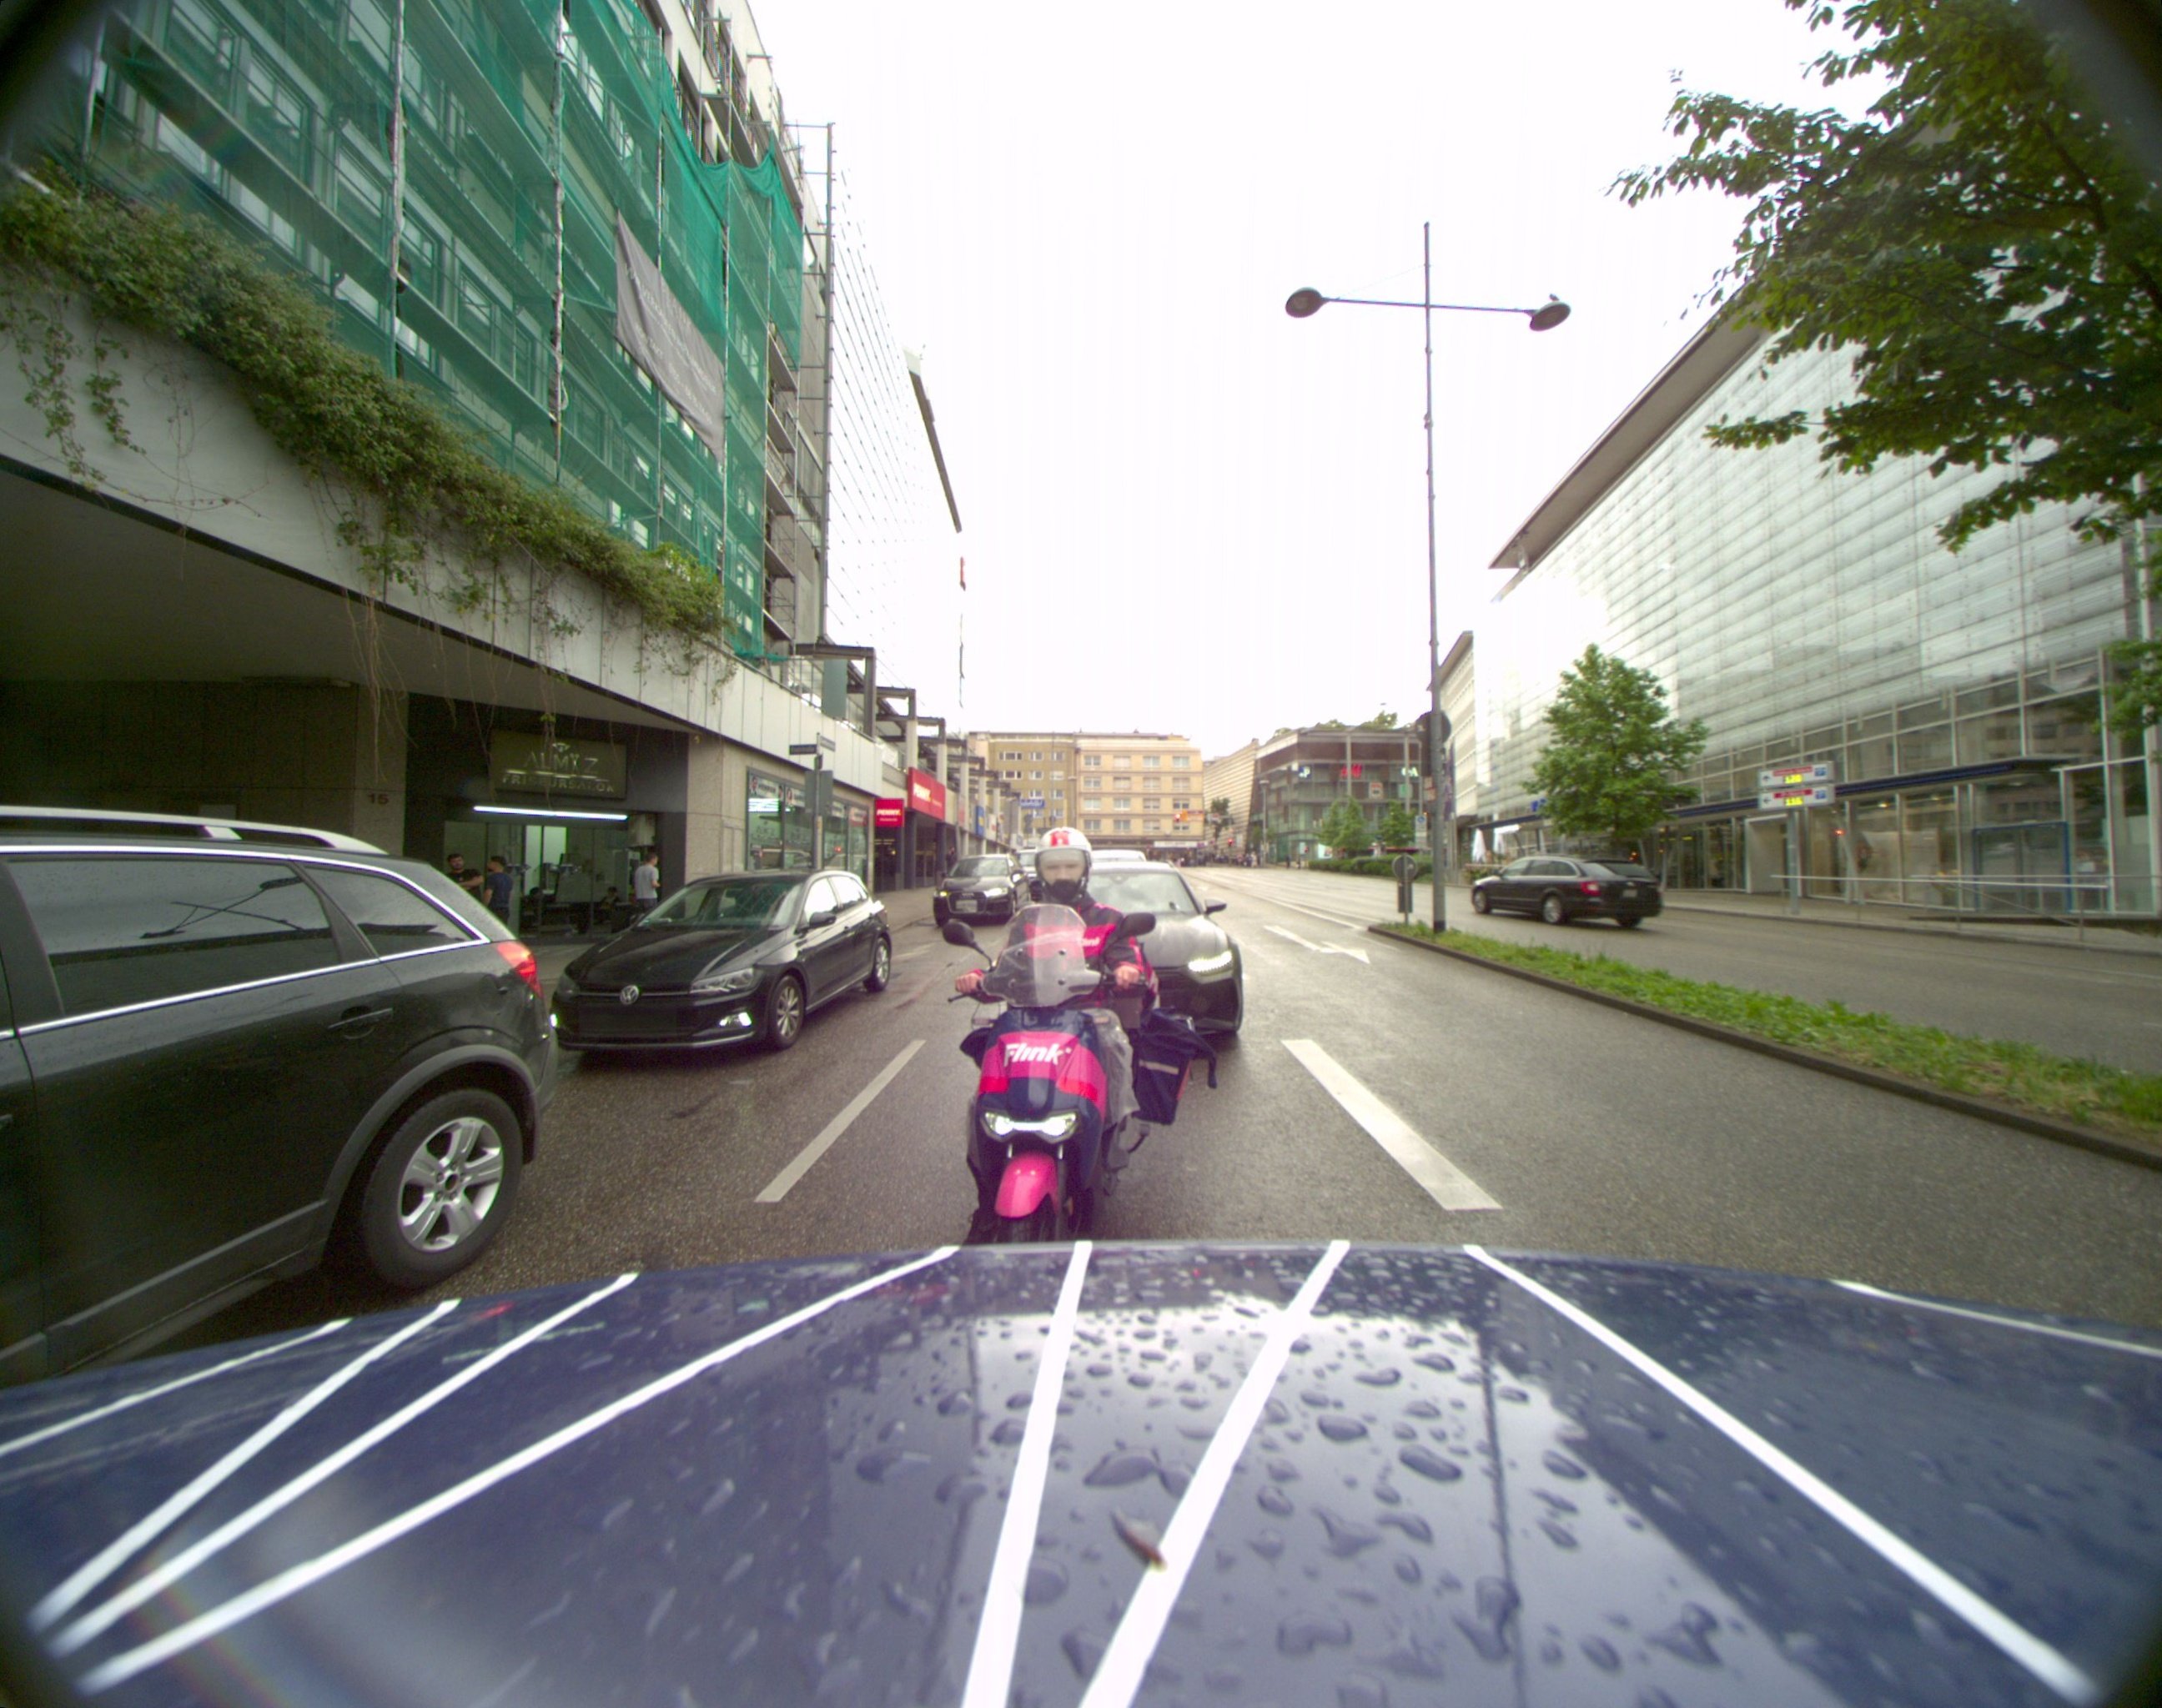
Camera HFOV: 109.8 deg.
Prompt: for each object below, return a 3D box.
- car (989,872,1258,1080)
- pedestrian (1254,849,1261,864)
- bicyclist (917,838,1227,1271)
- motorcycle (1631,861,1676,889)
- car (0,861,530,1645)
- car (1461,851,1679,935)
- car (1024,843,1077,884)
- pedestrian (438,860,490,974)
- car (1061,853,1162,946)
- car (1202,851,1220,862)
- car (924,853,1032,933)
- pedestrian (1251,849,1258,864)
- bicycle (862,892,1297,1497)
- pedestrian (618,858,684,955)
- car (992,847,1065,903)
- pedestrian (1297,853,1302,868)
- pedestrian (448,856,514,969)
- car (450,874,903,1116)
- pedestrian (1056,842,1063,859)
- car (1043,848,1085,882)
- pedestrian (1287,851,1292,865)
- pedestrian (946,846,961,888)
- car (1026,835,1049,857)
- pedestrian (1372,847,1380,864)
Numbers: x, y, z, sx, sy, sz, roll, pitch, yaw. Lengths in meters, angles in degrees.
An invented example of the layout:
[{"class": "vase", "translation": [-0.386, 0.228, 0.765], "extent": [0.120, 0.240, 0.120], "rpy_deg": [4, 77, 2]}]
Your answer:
[{"class": "car", "translation": [0.387, 0.933, 7.553], "extent": [1.890, 1.391, 4.165], "rpy_deg": [-2, -1, 2]}, {"class": "pedestrian", "translation": [18.982, 0.266, 81.771], "extent": [0.633, 1.620, 0.602], "rpy_deg": [1, 1, 4]}, {"class": "bicyclist", "translation": [-0.023, 0.720, 3.145], "extent": [1.063, 1.534, 0.825], "rpy_deg": [-2, 2, 0]}, {"class": "motorcycle", "translation": [28.170, 1.032, 37.372], "extent": [1.707, 1.319, 0.620], "rpy_deg": [0, 1, 1]}, {"class": "car", "translation": [-3.335, 0.917, 1.229], "extent": [1.764, 1.755, 4.164], "rpy_deg": [-2, 0, 1]}, {"class": "car", "translation": [10.505, 0.734, 16.836], "extent": [1.637, 1.477, 4.736], "rpy_deg": [1, 1, -1]}, {"class": "car", "translation": [-1.314, 0.415, 34.606], "extent": [1.988, 1.696, 4.165], "rpy_deg": [-2, -1, 2]}, {"class": "pedestrian", "translation": [-9.545, 0.958, 11.758], "extent": [0.466, 1.698, 0.484], "rpy_deg": [0, 2, 42]}, {"class": "car", "translation": [0.615, 0.782, 15.113], "extent": [1.675, 1.520, 4.164], "rpy_deg": [-2, 1, 2]}, {"class": "car", "translation": [23.239, 0.420, 135.743], "extent": [2.000, 2.002, 4.584], "rpy_deg": [0, 1, -7]}, {"class": "car", "translation": [-2.331, 0.830, 18.304], "extent": [1.841, 1.598, 4.164], "rpy_deg": [-2, 1, 2]}, {"class": "pedestrian", "translation": [18.845, 0.287, 82.714], "extent": [0.633, 1.620, 0.602], "rpy_deg": [0, 1, 2]}, {"class": "bicycle", "translation": [0.015, 0.926, 3.357], "extent": [1.034, 1.279, 2.948], "rpy_deg": [-2, 1, 1]}, {"class": "pedestrian", "translation": [-7.576, 0.906, 13.393], "extent": [0.732, 1.633, 0.640], "rpy_deg": [-1, 2, 25]}, {"class": "car", "translation": [-1.700, 0.688, 26.106], "extent": [1.988, 1.696, 4.165], "rpy_deg": [-2, -1, 2]}, {"class": "pedestrian", "translation": [24.091, 0.678, 83.876], "extent": [0.428, 1.620, 0.602], "rpy_deg": [1, 1, 5]}, {"class": "pedestrian", "translation": [-8.886, 0.841, 11.279], "extent": [0.640, 1.586, 0.576], "rpy_deg": [-3, 2, -32]}, {"class": "car", "translation": [-3.185, 1.001, 7.119], "extent": [1.758, 1.495, 4.165], "rpy_deg": [-2, -1, 4]}, {"class": "pedestrian", "translation": [-1.989, -0.356, 71.736], "extent": [0.634, 1.620, 0.602], "rpy_deg": [0, 1, -1]}, {"class": "car", "translation": [-0.887, 0.605, 42.023], "extent": [1.988, 1.696, 4.165], "rpy_deg": [-2, -1, 2]}, {"class": "pedestrian", "translation": [23.868, 0.436, 87.079], "extent": [0.428, 1.620, 0.602], "rpy_deg": [1, 1, 3]}, {"class": "pedestrian", "translation": [-5.096, 0.519, 30.324], "extent": [0.510, 1.669, 0.579], "rpy_deg": [0, 2, 0]}, {"class": "car", "translation": [-4.194, -0.794, 73.515], "extent": [1.605, 2.002, 3.400], "rpy_deg": [-2, 1, 7]}, {"class": "pedestrian", "translation": [32.142, 0.155, 82.783], "extent": [0.626, 1.764, 0.689], "rpy_deg": [-2, 2, 5]}]
